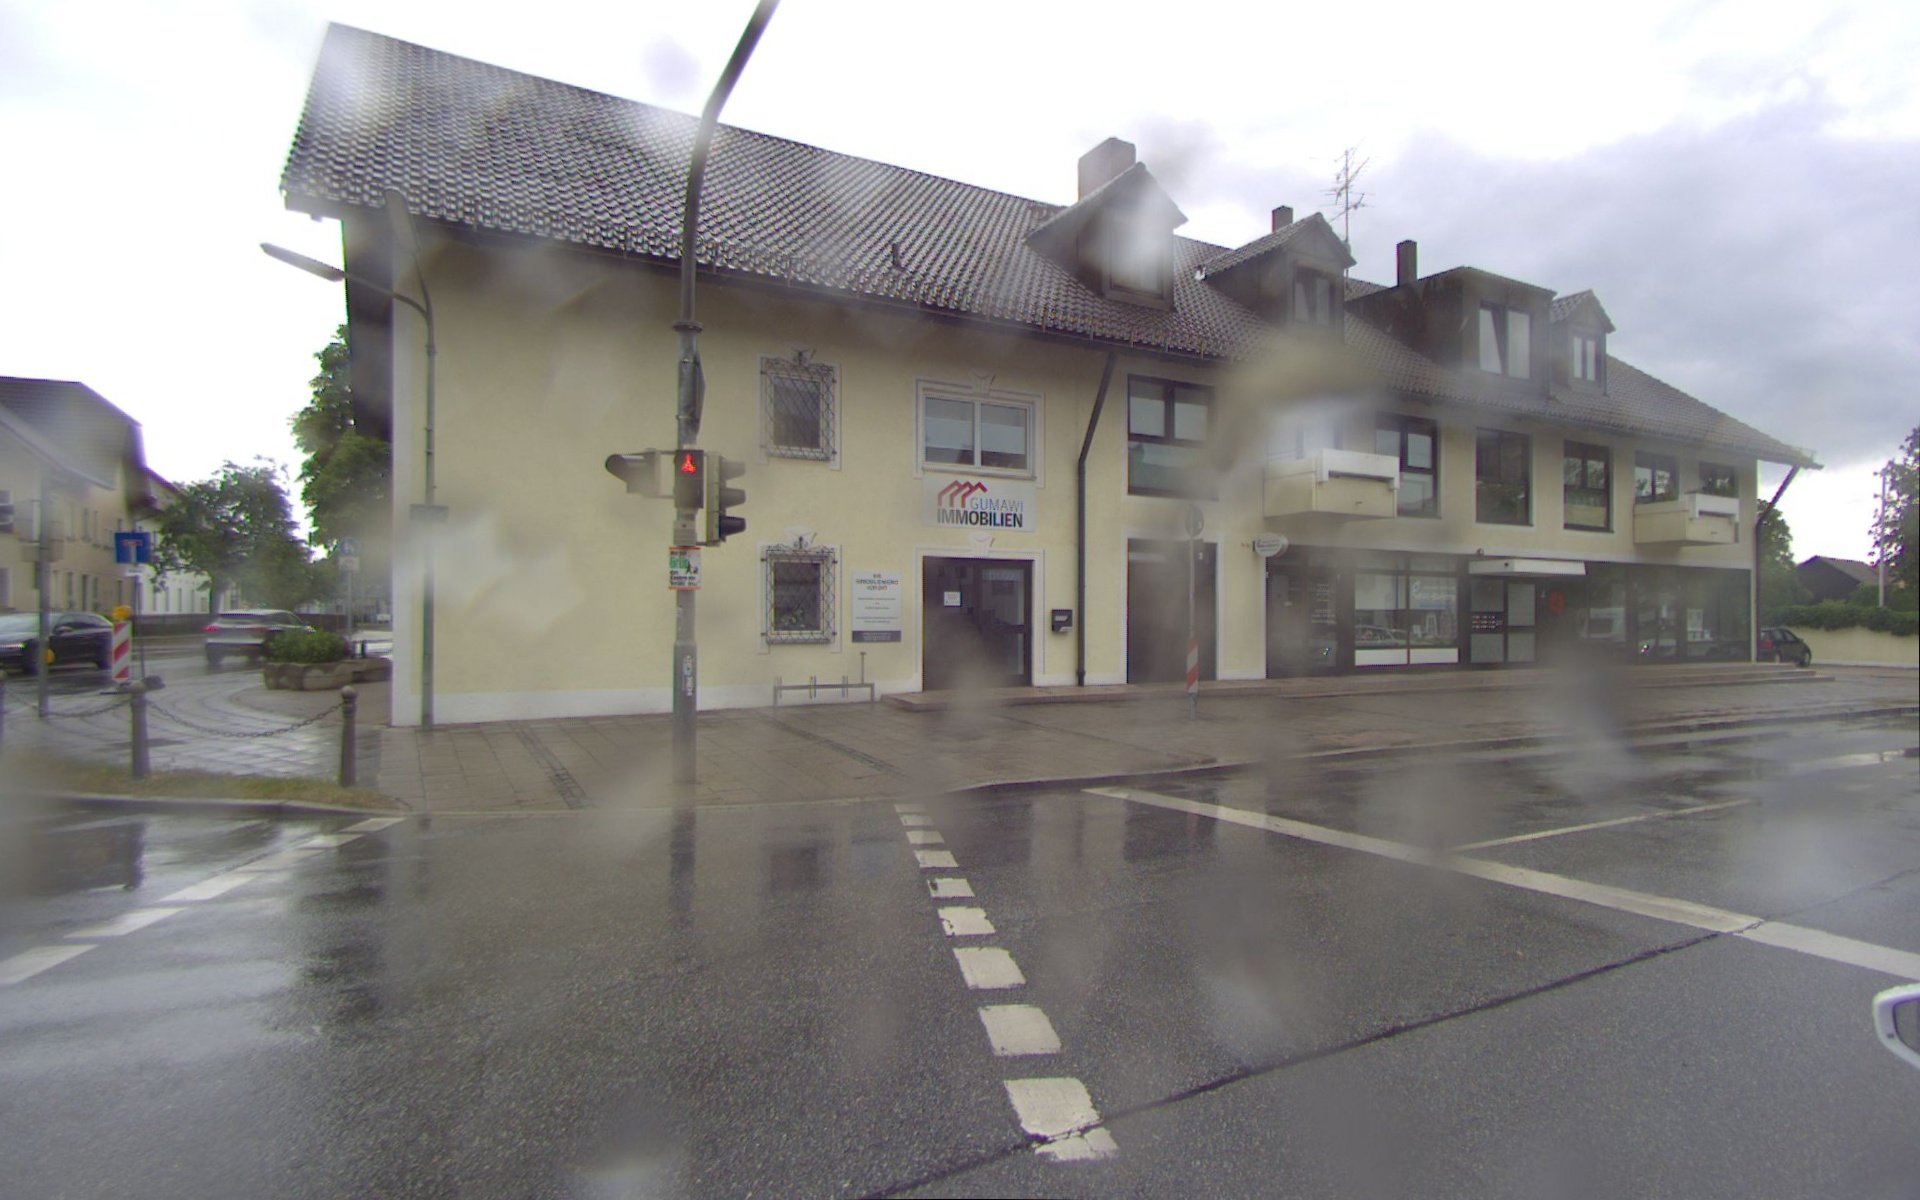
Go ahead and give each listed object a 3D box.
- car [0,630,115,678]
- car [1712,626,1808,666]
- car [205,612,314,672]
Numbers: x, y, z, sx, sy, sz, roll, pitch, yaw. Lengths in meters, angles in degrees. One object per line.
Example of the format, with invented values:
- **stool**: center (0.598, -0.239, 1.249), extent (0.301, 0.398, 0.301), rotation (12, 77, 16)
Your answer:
- **car**: center (-22.707, 1.294, 24.661), extent (1.400, 1.030, 4.061), rotation (1, -1, -16)
- **car**: center (29.375, 1.676, 36.870), extent (3.467, 1.398, 1.600), rotation (1, -2, -30)
- **car**: center (-21.481, 1.290, 30.990), extent (2.062, 1.695, 4.358), rotation (2, -3, -27)
